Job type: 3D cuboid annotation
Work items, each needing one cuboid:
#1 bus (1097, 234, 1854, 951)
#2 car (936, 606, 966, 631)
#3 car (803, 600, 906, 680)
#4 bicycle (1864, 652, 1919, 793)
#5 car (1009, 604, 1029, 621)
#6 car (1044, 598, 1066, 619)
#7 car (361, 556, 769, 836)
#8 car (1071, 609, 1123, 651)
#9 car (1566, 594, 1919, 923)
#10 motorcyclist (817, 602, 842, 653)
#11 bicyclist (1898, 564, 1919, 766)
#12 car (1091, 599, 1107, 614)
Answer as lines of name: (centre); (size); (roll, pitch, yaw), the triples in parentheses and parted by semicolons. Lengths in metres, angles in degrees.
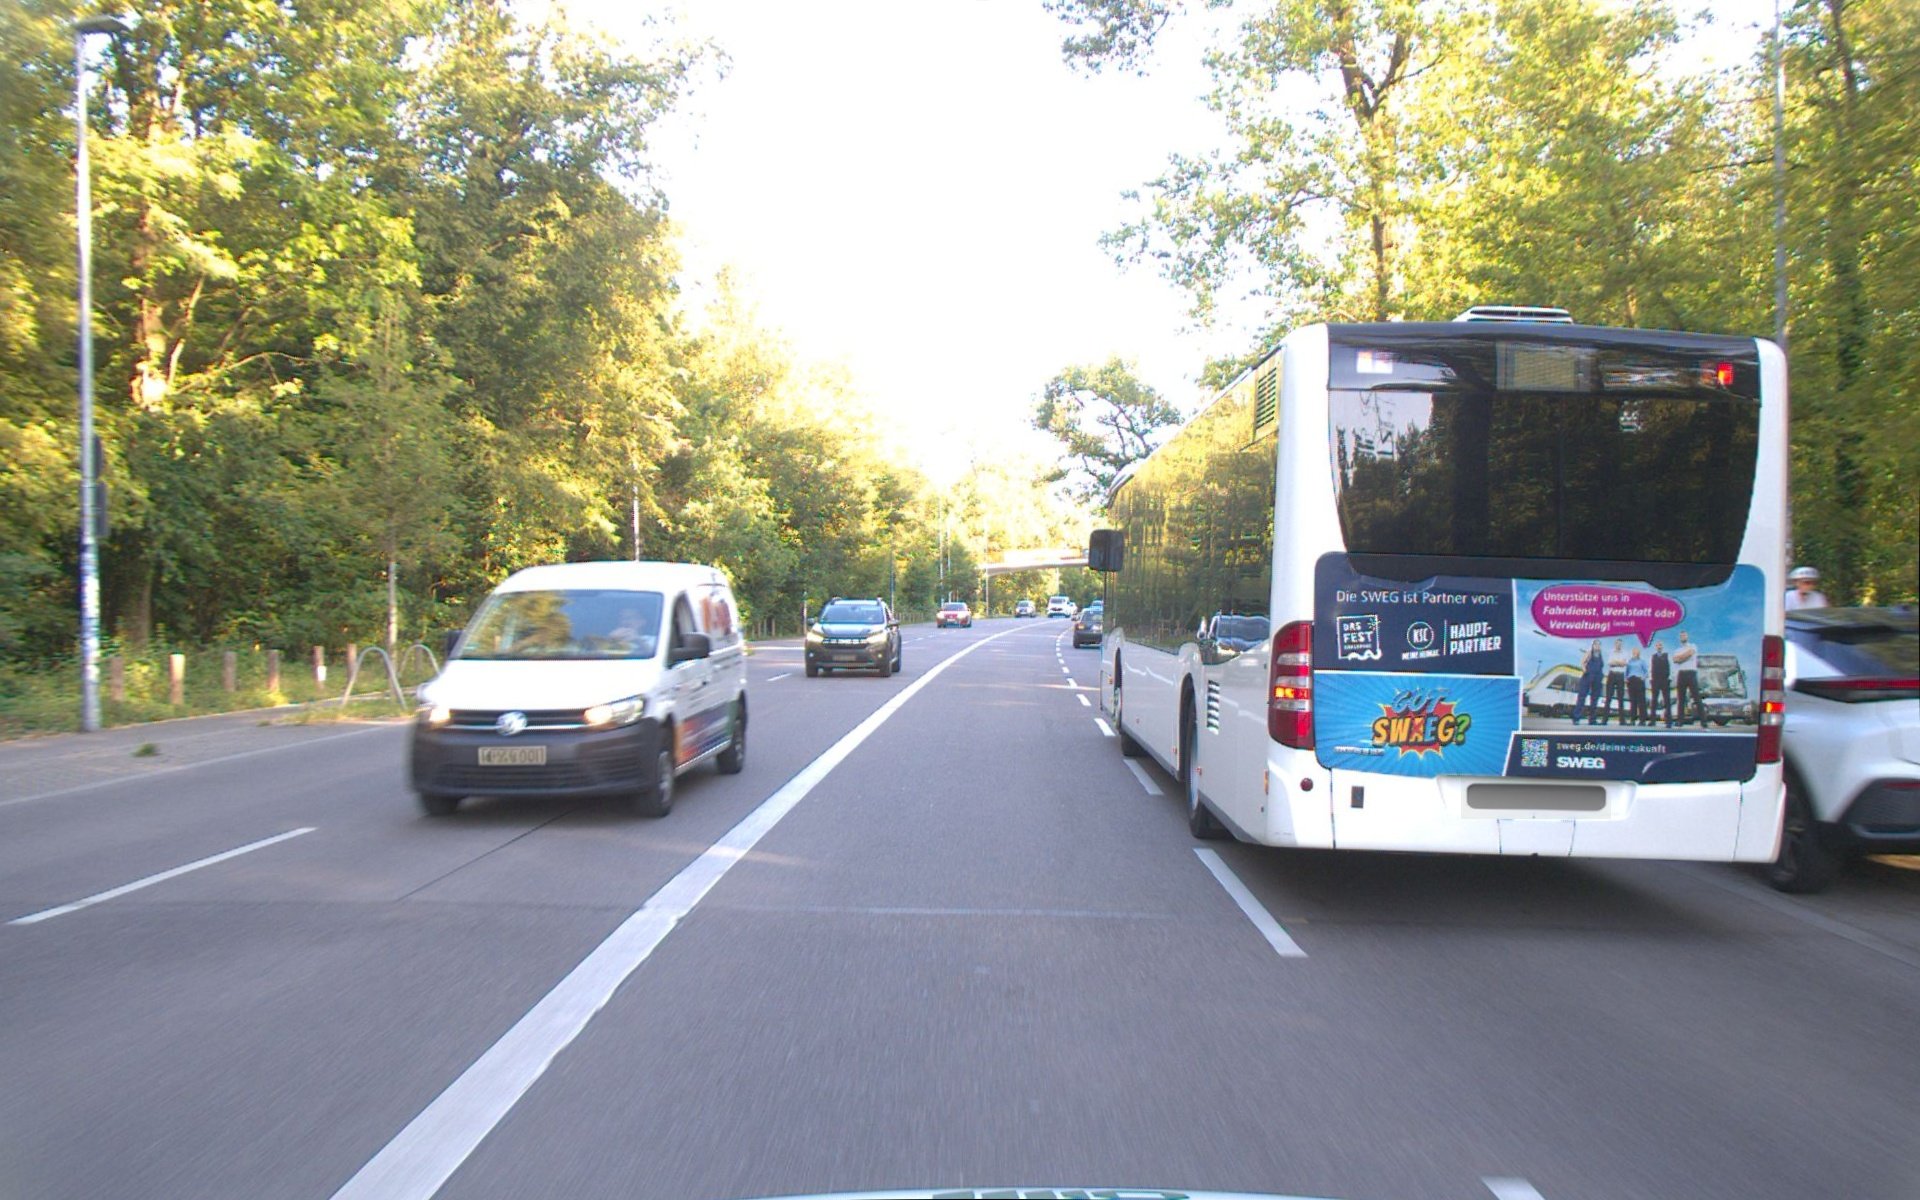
bus: (2.858, -0.010, 13.710); (2.648, 3.278, 12.280); (0, 0, 1)
car: (-0.532, 1.090, 100.773); (1.786, 1.488, 4.924); (0, 0, 0)
car: (-2.160, 0.796, 34.812); (1.768, 1.572, 4.090); (-1, 0, 2)
bicycle: (7.860, 0.968, 12.779); (0.688, 1.075, 1.964); (-1, 0, 1)
car: (5.696, 1.182, 159.348); (1.762, 1.628, 4.002); (0, 0, 4)
car: (9.298, 0.841, 161.571); (2.160, 1.995, 4.915); (0, 0, 3)
car: (-2.841, 0.630, 13.113); (1.866, 1.787, 4.801); (-1, 0, 3)
car: (4.917, 1.065, 59.646); (1.692, 1.467, 4.091); (0, 0, 2)
car: (5.542, 0.803, 10.600); (1.769, 1.587, 4.458); (-3, 0, 2)
motorcyclist: (-4.021, 0.846, 50.989); (0.642, 1.567, 0.905); (0, 0, 1)
bicyclist: (7.865, 0.497, 12.768); (0.687, 1.589, 0.876); (-2, -1, 1)
car: (17.180, 0.793, 204.113); (1.877, 1.734, 4.445); (0, 0, 7)
